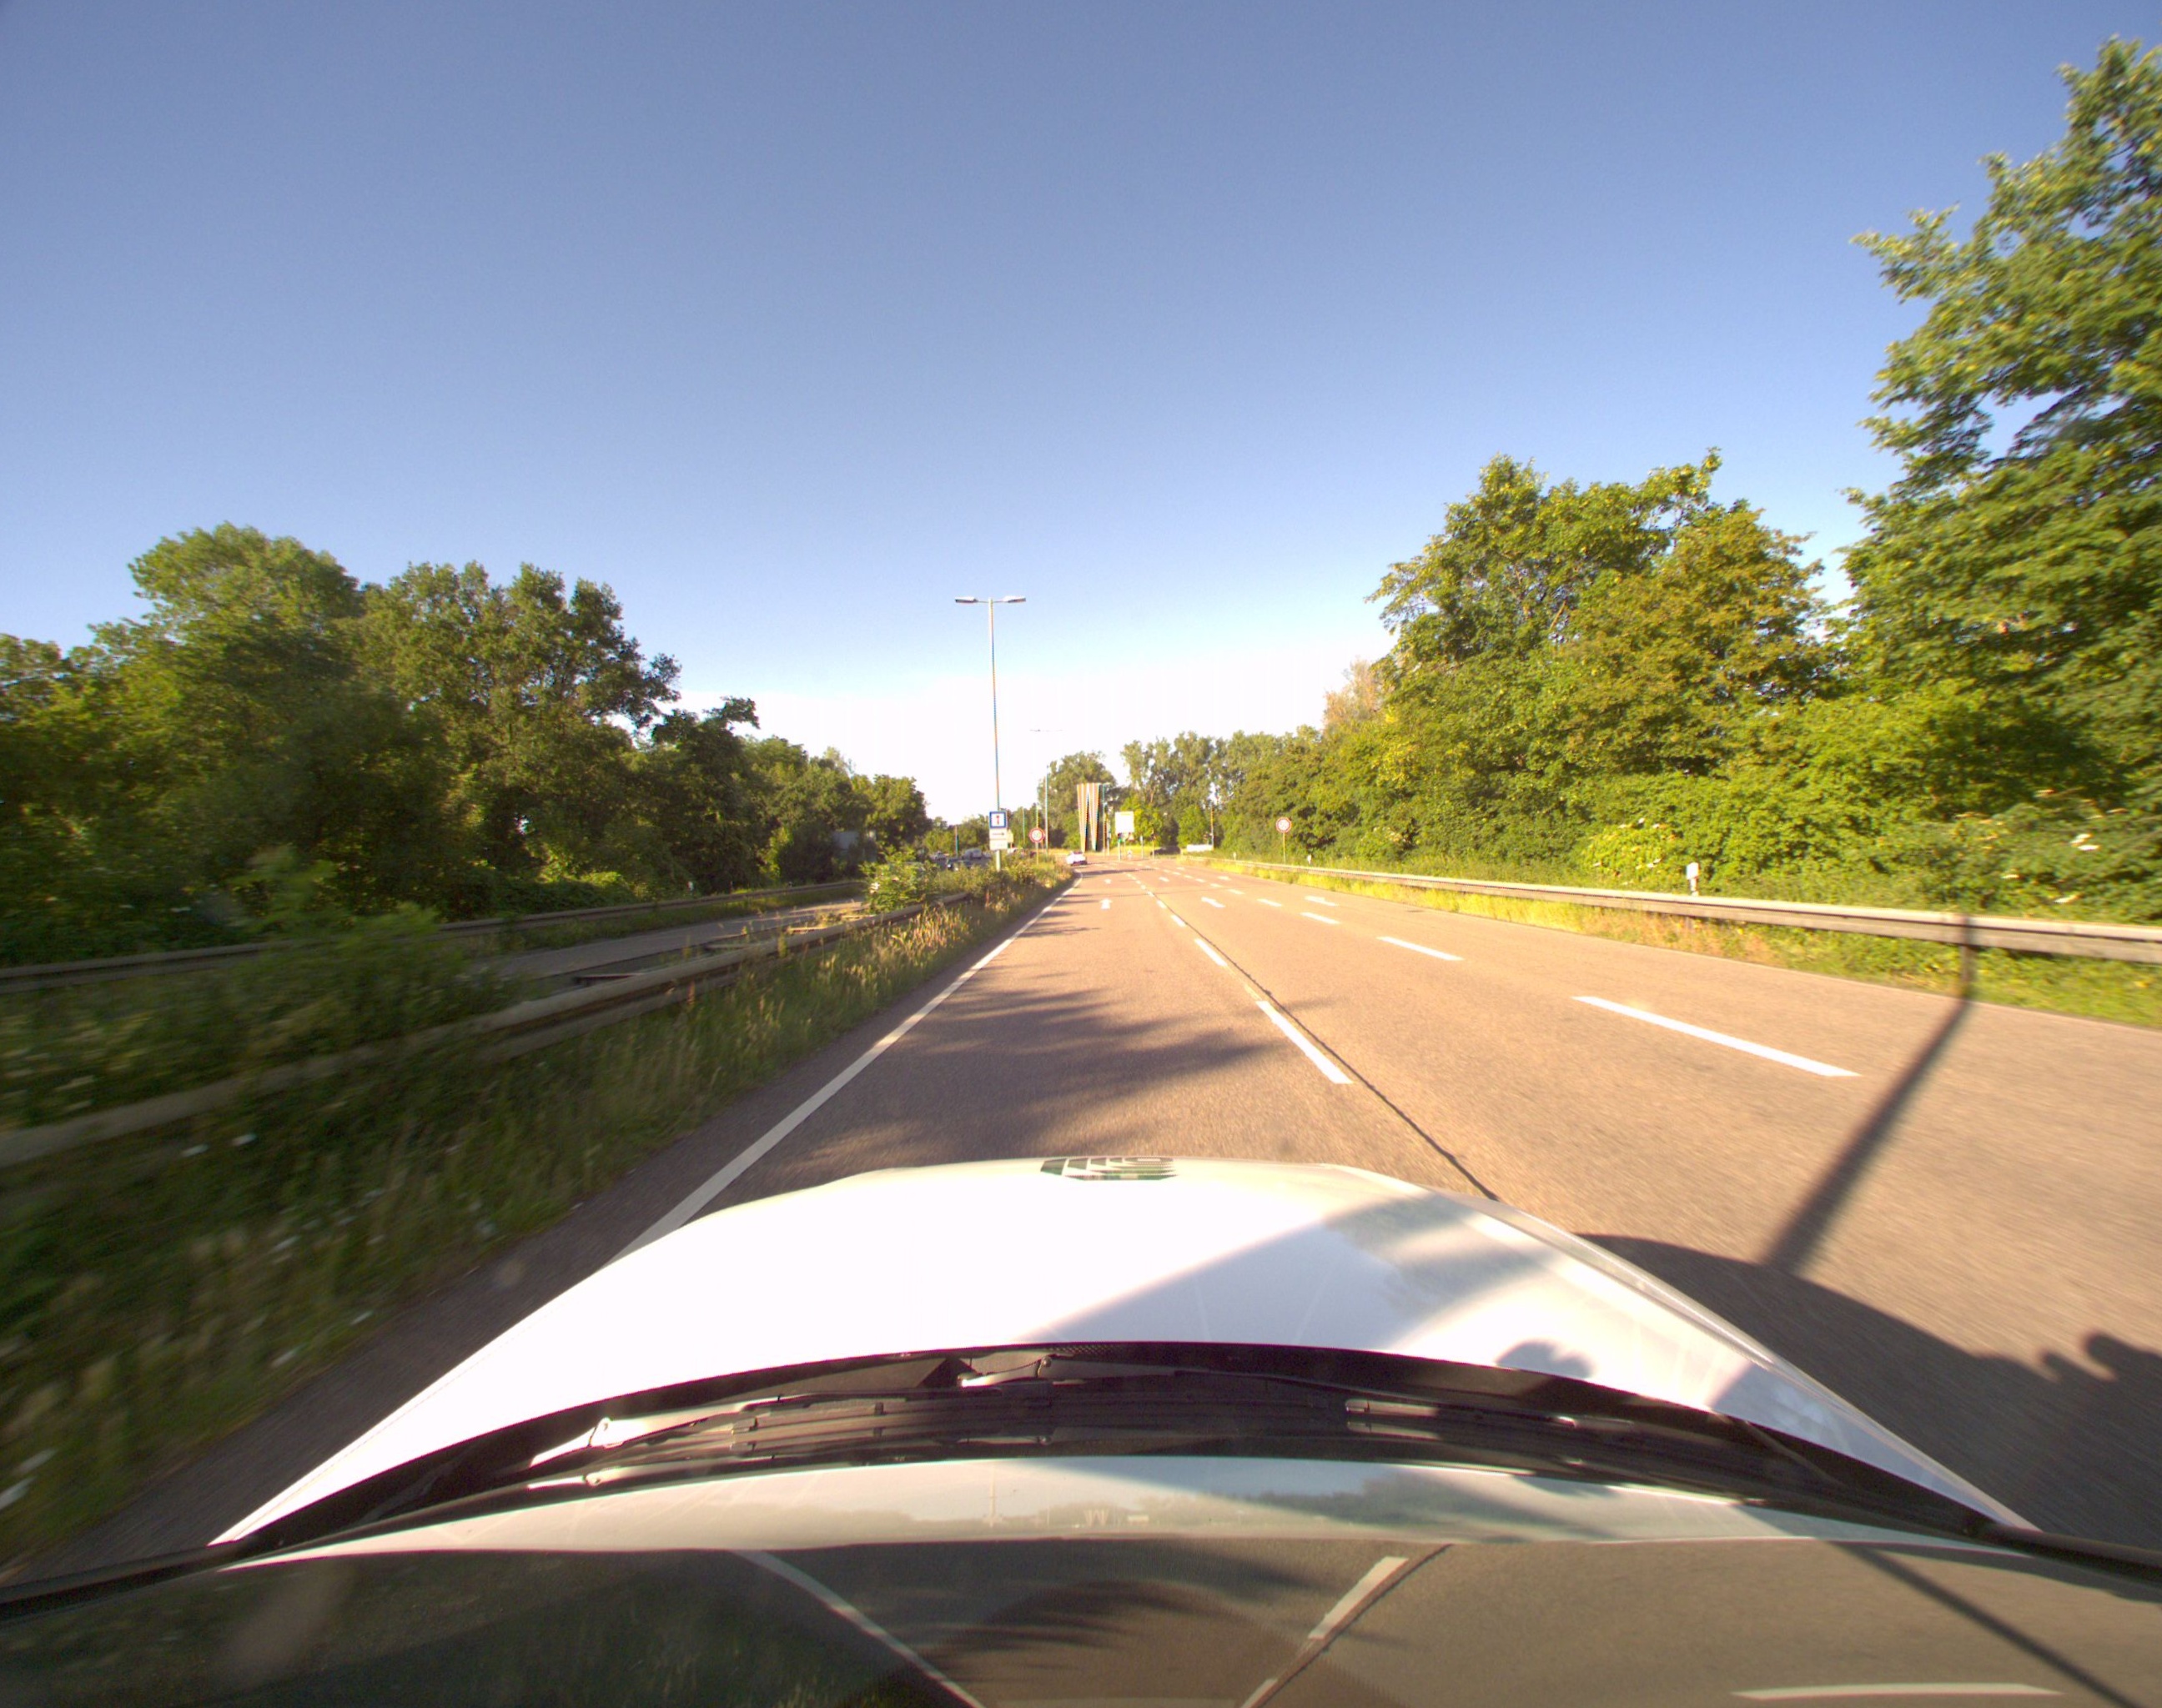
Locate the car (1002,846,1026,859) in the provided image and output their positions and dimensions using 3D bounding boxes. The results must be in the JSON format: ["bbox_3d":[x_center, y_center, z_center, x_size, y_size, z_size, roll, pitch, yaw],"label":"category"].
[{"bbox_3d":[-10.106,-0.258,122.762,2.006,1.879,4.209,-3,1,-29],"label":"car"}]

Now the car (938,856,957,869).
[{"bbox_3d":[-16.404,1.008,100.042,1.888,1.420,4.345,-4,0,-13],"label":"car"}]

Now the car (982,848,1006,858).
[{"bbox_3d":[-14.572,-0.170,136.121,1.987,1.474,4.104,-3,2,-43],"label":"car"}]

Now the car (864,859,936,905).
[{"bbox_3d":[-6.975,1.019,31.847,1.763,1.569,4.219,-3,0,1],"label":"car"}]

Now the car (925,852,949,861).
[{"bbox_3d":[-25.793,0.424,145.771,3.950,1.508,2.287,-2,0,44],"label":"car"}]

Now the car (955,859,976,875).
[{"bbox_3d":[-11.178,1.231,78.860,1.803,1.416,4.521,-3,0,-6],"label":"car"}]

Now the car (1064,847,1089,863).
[{"bbox_3d":[-0.531,0.105,91.490,1.994,1.640,4.113,-3,1,-11],"label":"car"}]

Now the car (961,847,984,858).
[{"bbox_3d":[-17.990,-0.258,134.803,1.986,1.698,3.952,-3,2,-41],"label":"car"}]
